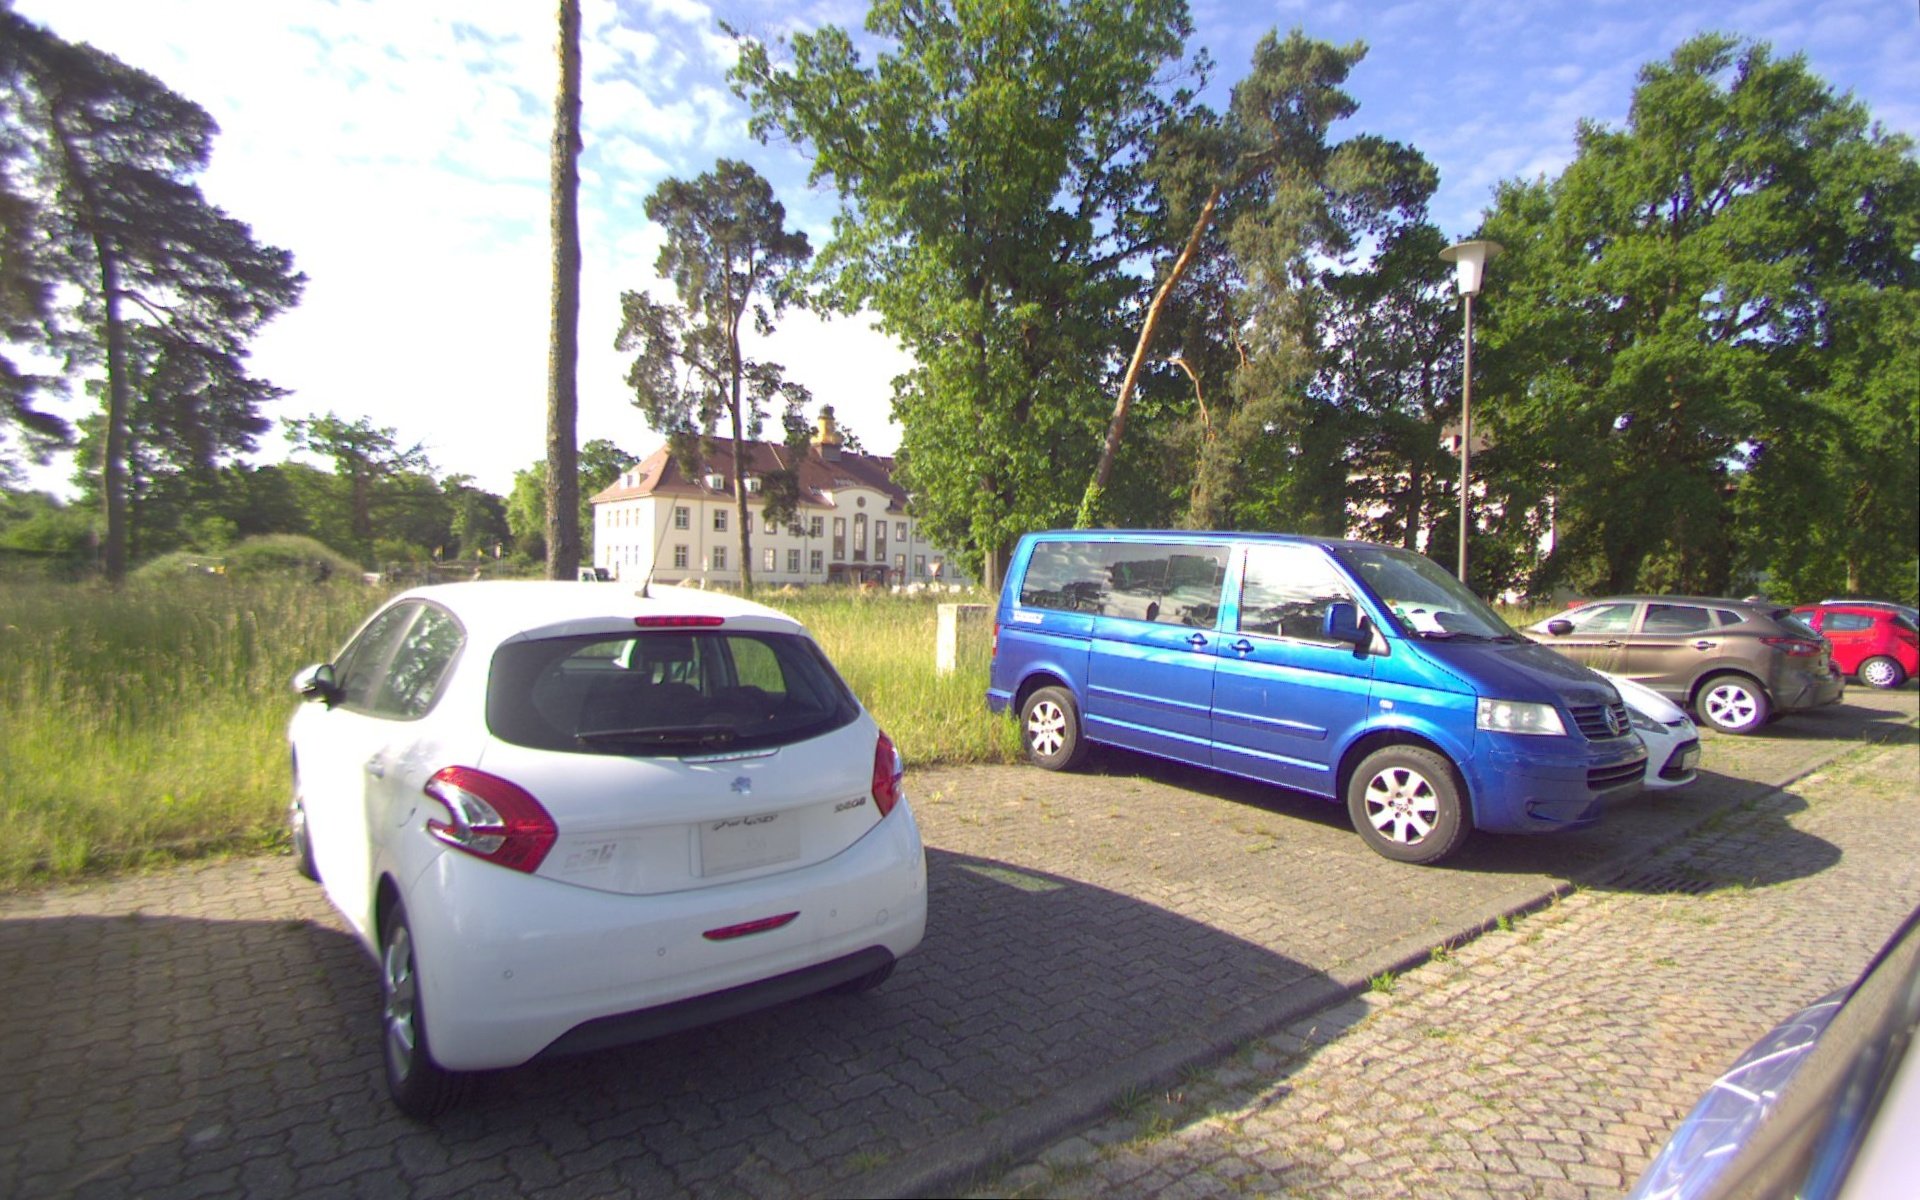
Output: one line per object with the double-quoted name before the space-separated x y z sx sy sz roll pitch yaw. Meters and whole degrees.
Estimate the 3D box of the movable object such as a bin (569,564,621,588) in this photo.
"movable object such as a bin" -34.210 -2.254 94.741 5.715 2.038 2.092 3 2 41

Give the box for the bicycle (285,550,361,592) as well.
"bicycle" -31.794 -1.472 50.518 3.077 2.038 0.952 -2 3 -41

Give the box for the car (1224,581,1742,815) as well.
"car" 4.410 0.662 8.980 1.582 1.484 3.727 0 3 -41

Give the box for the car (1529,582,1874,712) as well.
"car" 10.946 0.588 15.173 1.672 1.557 3.835 0 2 -39

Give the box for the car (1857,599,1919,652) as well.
"car" 28.311 0.757 28.894 1.715 1.484 3.810 0 1 -38

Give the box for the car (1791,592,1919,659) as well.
"car" 24.460 0.657 26.222 1.622 1.618 4.272 0 1 -39

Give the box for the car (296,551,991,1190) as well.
"car" -1.670 0.577 4.319 1.604 1.510 3.654 0 2 -39

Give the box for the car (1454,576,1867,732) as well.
"car" 8.960 0.559 13.241 1.755 1.631 4.115 0 2 -41

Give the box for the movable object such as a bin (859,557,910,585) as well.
"movable object such as a bin" -8.175 -3.146 109.871 4.973 2.937 2.182 0 1 -33

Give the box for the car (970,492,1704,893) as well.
"car" 2.370 0.323 7.595 1.964 2.038 4.768 0 3 -39

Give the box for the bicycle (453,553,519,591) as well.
"bicycle" -25.605 -1.538 54.669 3.077 2.038 0.952 -2 3 -41

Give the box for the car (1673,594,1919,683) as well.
"car" 16.593 0.686 19.844 1.513 1.514 3.996 0 1 -39
